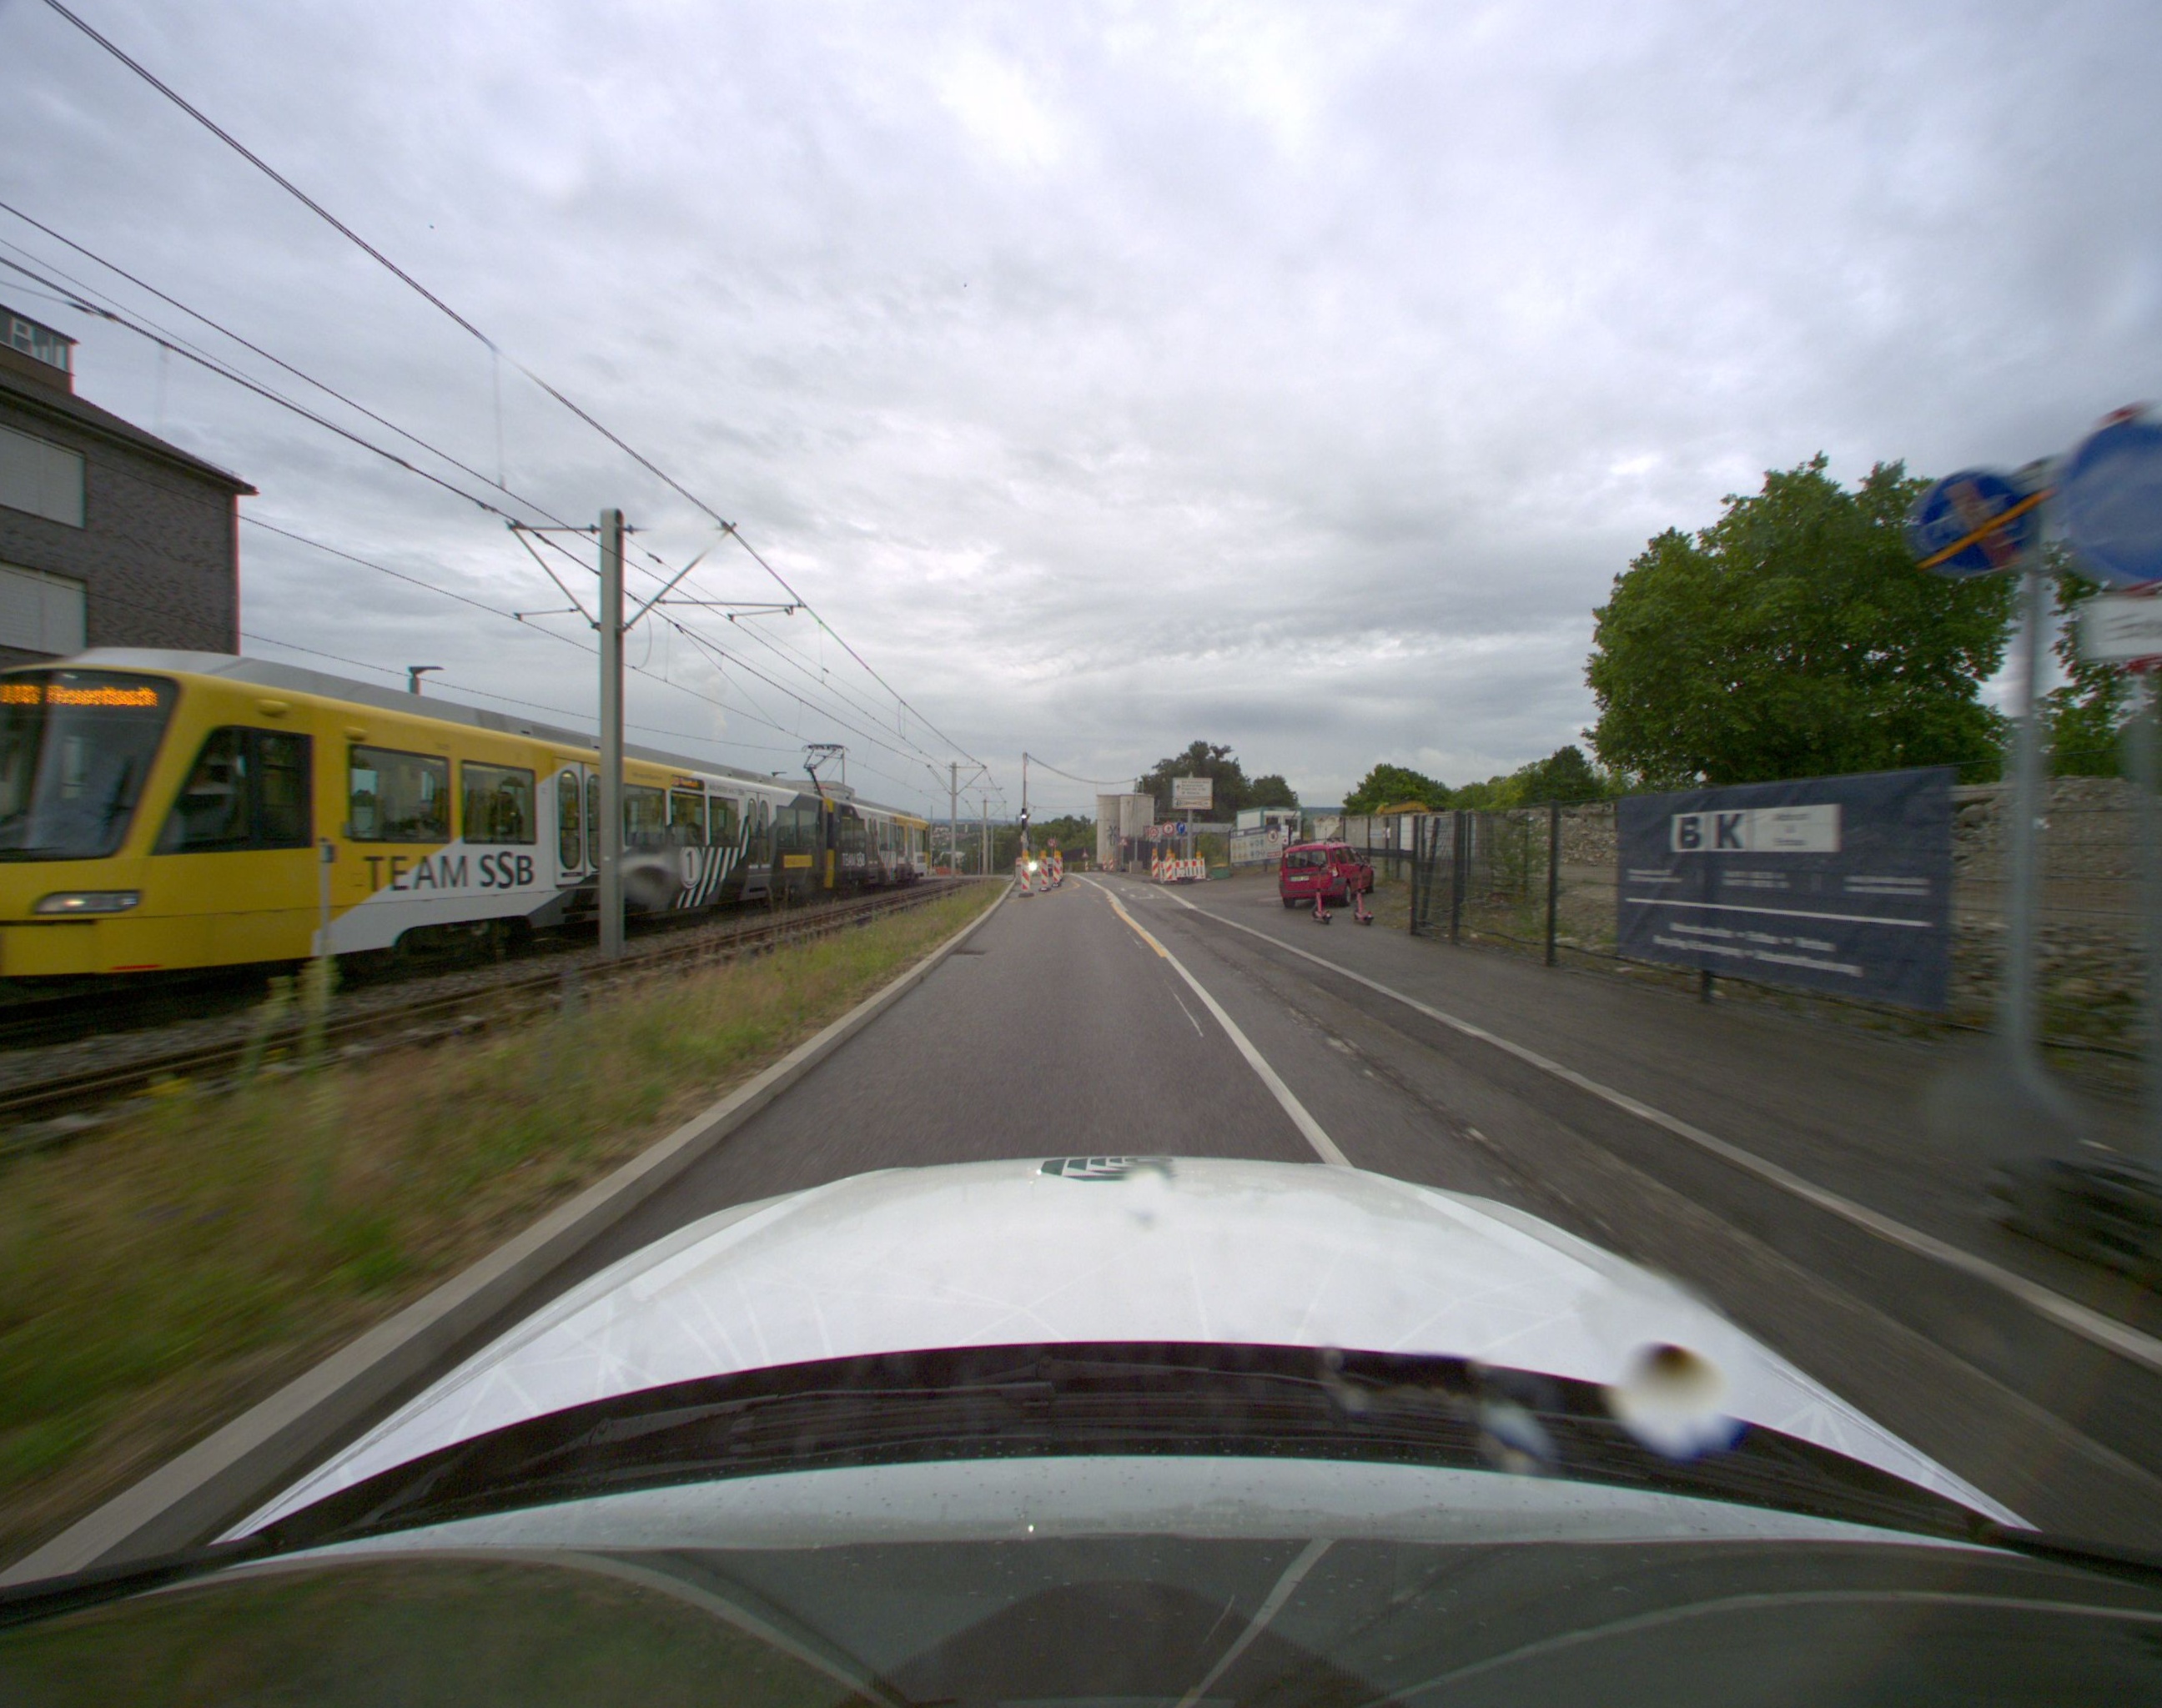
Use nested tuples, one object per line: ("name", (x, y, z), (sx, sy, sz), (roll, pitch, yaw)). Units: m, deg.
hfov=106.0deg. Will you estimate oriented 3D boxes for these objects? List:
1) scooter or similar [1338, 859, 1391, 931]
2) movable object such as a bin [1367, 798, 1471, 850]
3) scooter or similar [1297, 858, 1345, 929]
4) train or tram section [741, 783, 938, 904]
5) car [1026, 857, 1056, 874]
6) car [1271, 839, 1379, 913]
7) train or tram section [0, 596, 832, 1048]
("scooter or similar", (5.752, 0.793, 16.610), (0.612, 1.351, 1.915), (0, 0, 6))
("movable object such as a bin", (41.321, -3.638, 99.828), (11.170, 5.995, 3.498), (-1, -1, 7))
("scooter or similar", (4.914, 0.772, 16.786), (0.612, 1.351, 1.915), (0, 0, 6))
("train or tram section", (-9.584, -0.355, 36.236), (2.945, 3.886, 19.288), (1, 0, 0))
("car", (-4.132, 1.178, 83.590), (1.999, 1.678, 4.460), (-1, -1, -18))
("car", (6.774, 0.529, 22.321), (1.802, 1.794, 4.436), (0, 0, 31))
("train or tram section", (-9.813, -0.301, 16.804), (2.945, 3.886, 19.575), (1, 0, 1))
